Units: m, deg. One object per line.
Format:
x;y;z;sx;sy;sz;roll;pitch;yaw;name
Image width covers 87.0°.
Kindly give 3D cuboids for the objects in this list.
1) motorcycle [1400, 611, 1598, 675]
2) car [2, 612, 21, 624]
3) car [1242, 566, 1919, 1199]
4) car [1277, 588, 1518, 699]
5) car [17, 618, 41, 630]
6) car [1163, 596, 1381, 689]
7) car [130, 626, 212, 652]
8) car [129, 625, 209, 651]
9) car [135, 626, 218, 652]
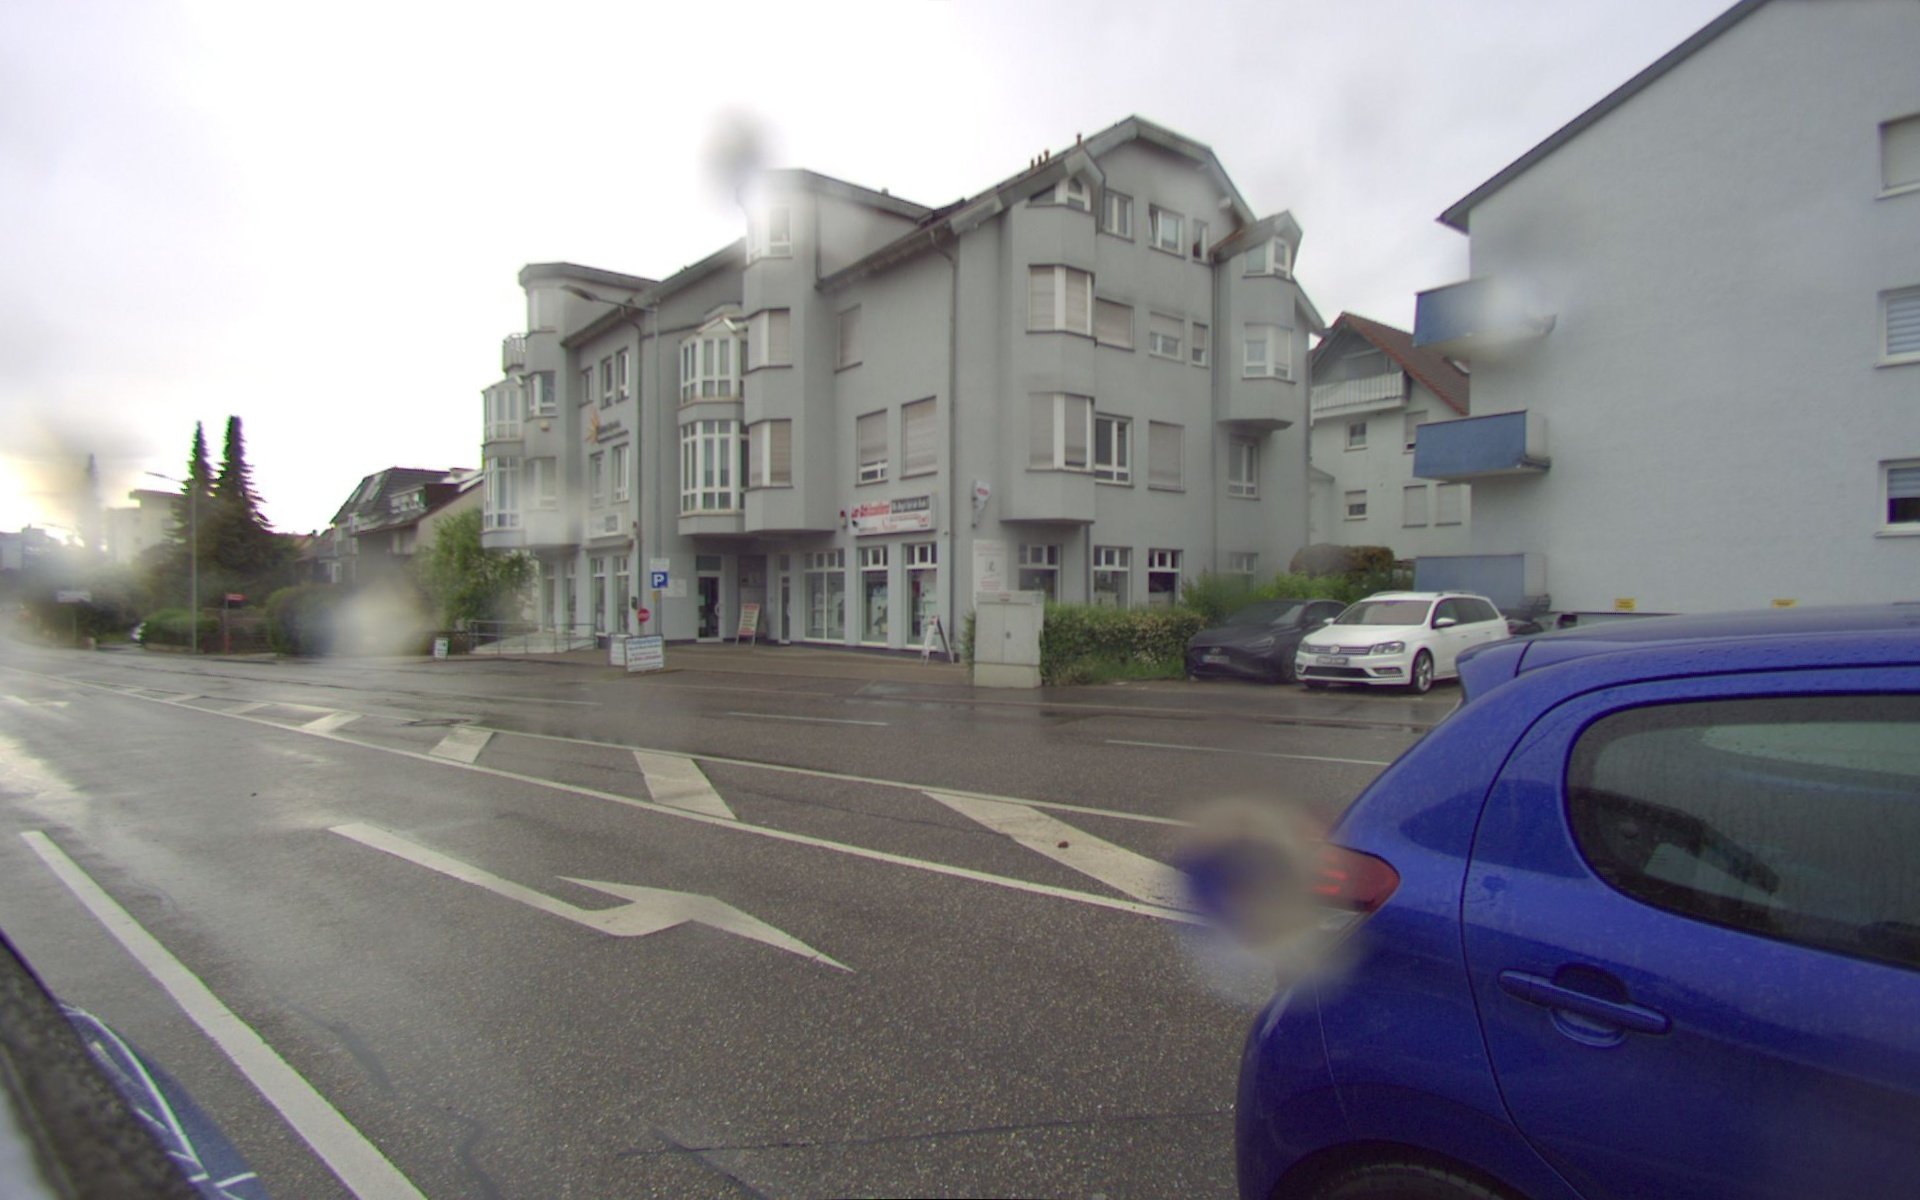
9.771;0.789;18.541;3.112;1.108;0.869;-2;-1;25;motorcycle
-148.758;2.822;158.782;1.824;1.777;4.129;0;-1;-39;car
2.236;0.639;1.248;3.269;1.421;1.562;-2;0;42;car
6.849;0.599;15.634;4.169;1.485;1.906;0;-1;-43;car
-124.472;3.202;135.342;1.968;1.628;4.008;0;-1;-38;car
5.474;0.666;17.554;3.940;1.421;1.906;0;-1;-43;car
-51.354;2.530;65.932;4.096;1.453;1.892;-2;0;-42;car
-53.149;2.523;68.011;4.058;1.557;2.002;-2;0;-44;car
-49.621;2.460;64.139;3.978;1.453;1.814;-2;0;-44;car
